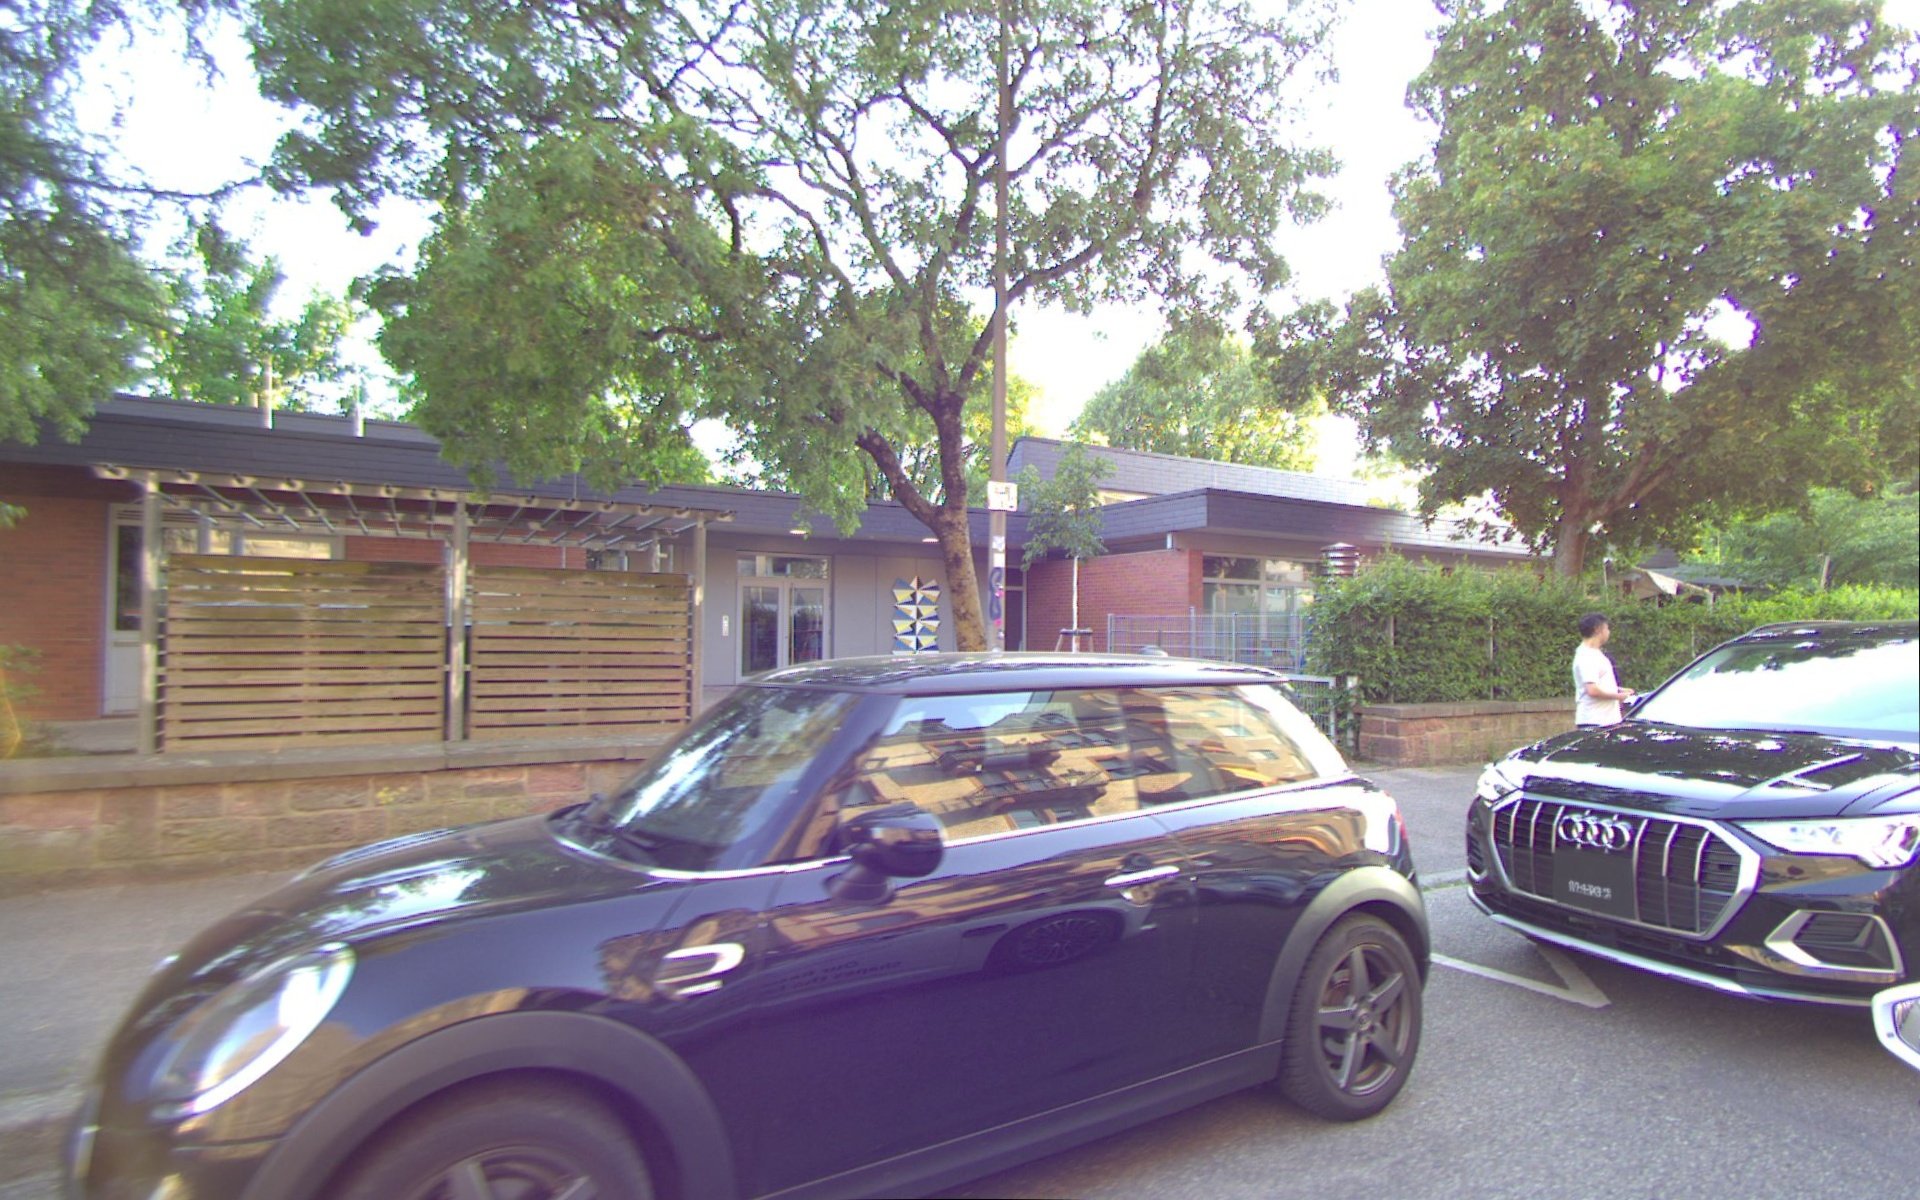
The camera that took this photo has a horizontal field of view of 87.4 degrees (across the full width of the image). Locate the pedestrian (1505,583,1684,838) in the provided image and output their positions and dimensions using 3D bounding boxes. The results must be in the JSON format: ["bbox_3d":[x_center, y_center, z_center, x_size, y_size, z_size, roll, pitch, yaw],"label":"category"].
[{"bbox_3d":[4.980,0.815,7.912,0.778,1.855,0.933,2,-1,-31],"label":"pedestrian"}]

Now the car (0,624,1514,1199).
[{"bbox_3d":[-0.295,0.869,3.063,3.944,1.497,1.630,2,-3,-29],"label":"car"}]

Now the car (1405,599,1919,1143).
[{"bbox_3d":[4.461,0.879,4.680,4.500,1.590,1.801,2,-2,-23],"label":"car"}]

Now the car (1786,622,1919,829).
[{"bbox_3d":[9.457,1.058,8.999,3.950,1.652,1.777,2,-4,-28],"label":"car"}]
